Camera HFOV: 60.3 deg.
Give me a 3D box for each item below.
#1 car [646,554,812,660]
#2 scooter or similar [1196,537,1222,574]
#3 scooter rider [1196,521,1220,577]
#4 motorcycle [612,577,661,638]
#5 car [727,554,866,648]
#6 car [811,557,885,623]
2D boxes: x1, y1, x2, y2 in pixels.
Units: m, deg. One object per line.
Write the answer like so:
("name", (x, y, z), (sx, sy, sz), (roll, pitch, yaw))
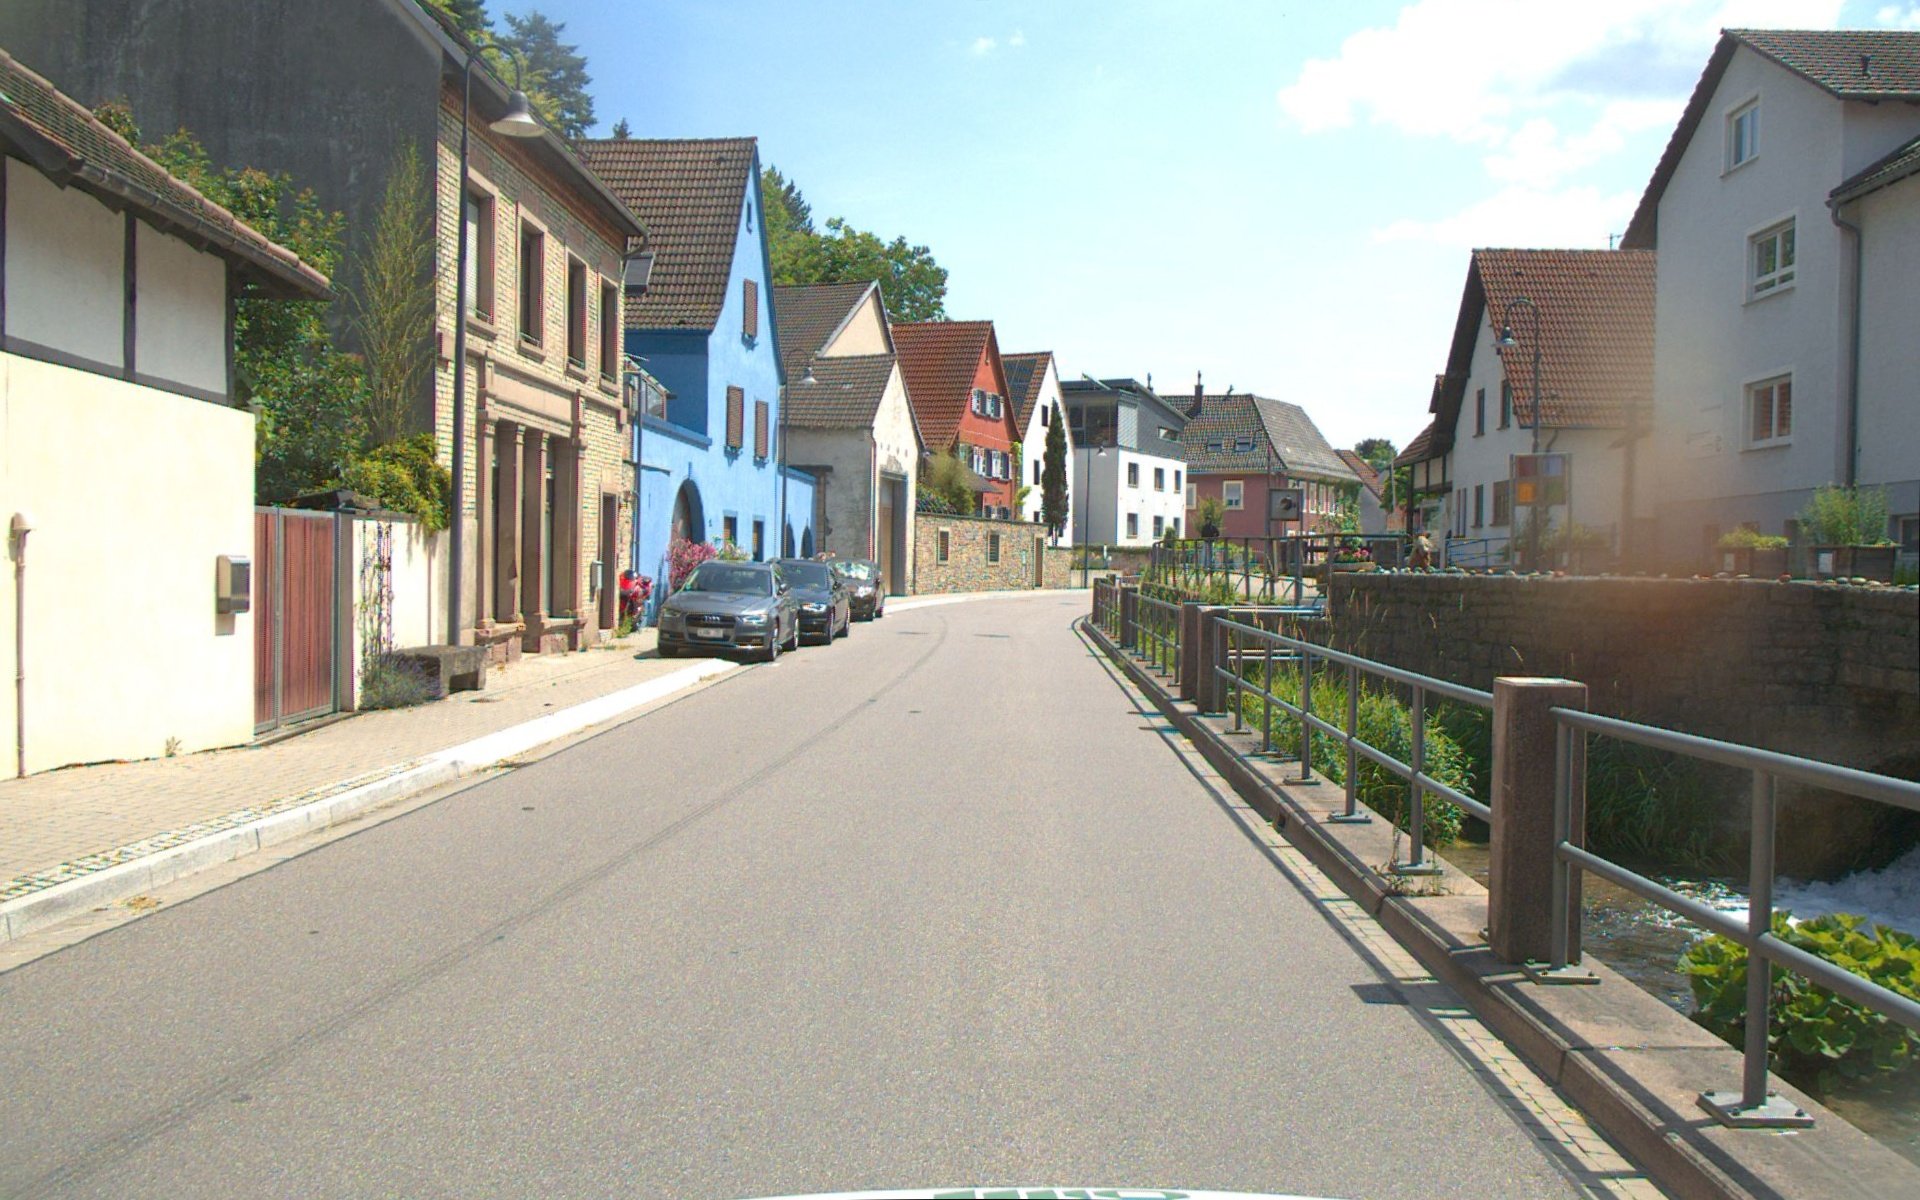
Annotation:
("car", (-3.571, 0.079, 26.421), (1.916, 1.491, 4.546), (2, 1, 1))
("scooter or similar", (7.902, -1.402, 52.592), (0.628, 1.162, 1.812), (0, 1, 2))
("scooter rider", (7.892, -1.612, 52.657), (0.628, 1.762, 0.554), (2, 1, 2))
("motorcycle", (-5.771, 0.123, 29.601), (0.409, 1.018, 1.859), (5, 1, 0))
("car", (-3.013, -0.049, 31.448), (1.846, 1.489, 4.671), (4, 2, 3))
("car", (-2.784, -0.274, 41.608), (1.682, 1.556, 3.855), (0, 1, -2))
